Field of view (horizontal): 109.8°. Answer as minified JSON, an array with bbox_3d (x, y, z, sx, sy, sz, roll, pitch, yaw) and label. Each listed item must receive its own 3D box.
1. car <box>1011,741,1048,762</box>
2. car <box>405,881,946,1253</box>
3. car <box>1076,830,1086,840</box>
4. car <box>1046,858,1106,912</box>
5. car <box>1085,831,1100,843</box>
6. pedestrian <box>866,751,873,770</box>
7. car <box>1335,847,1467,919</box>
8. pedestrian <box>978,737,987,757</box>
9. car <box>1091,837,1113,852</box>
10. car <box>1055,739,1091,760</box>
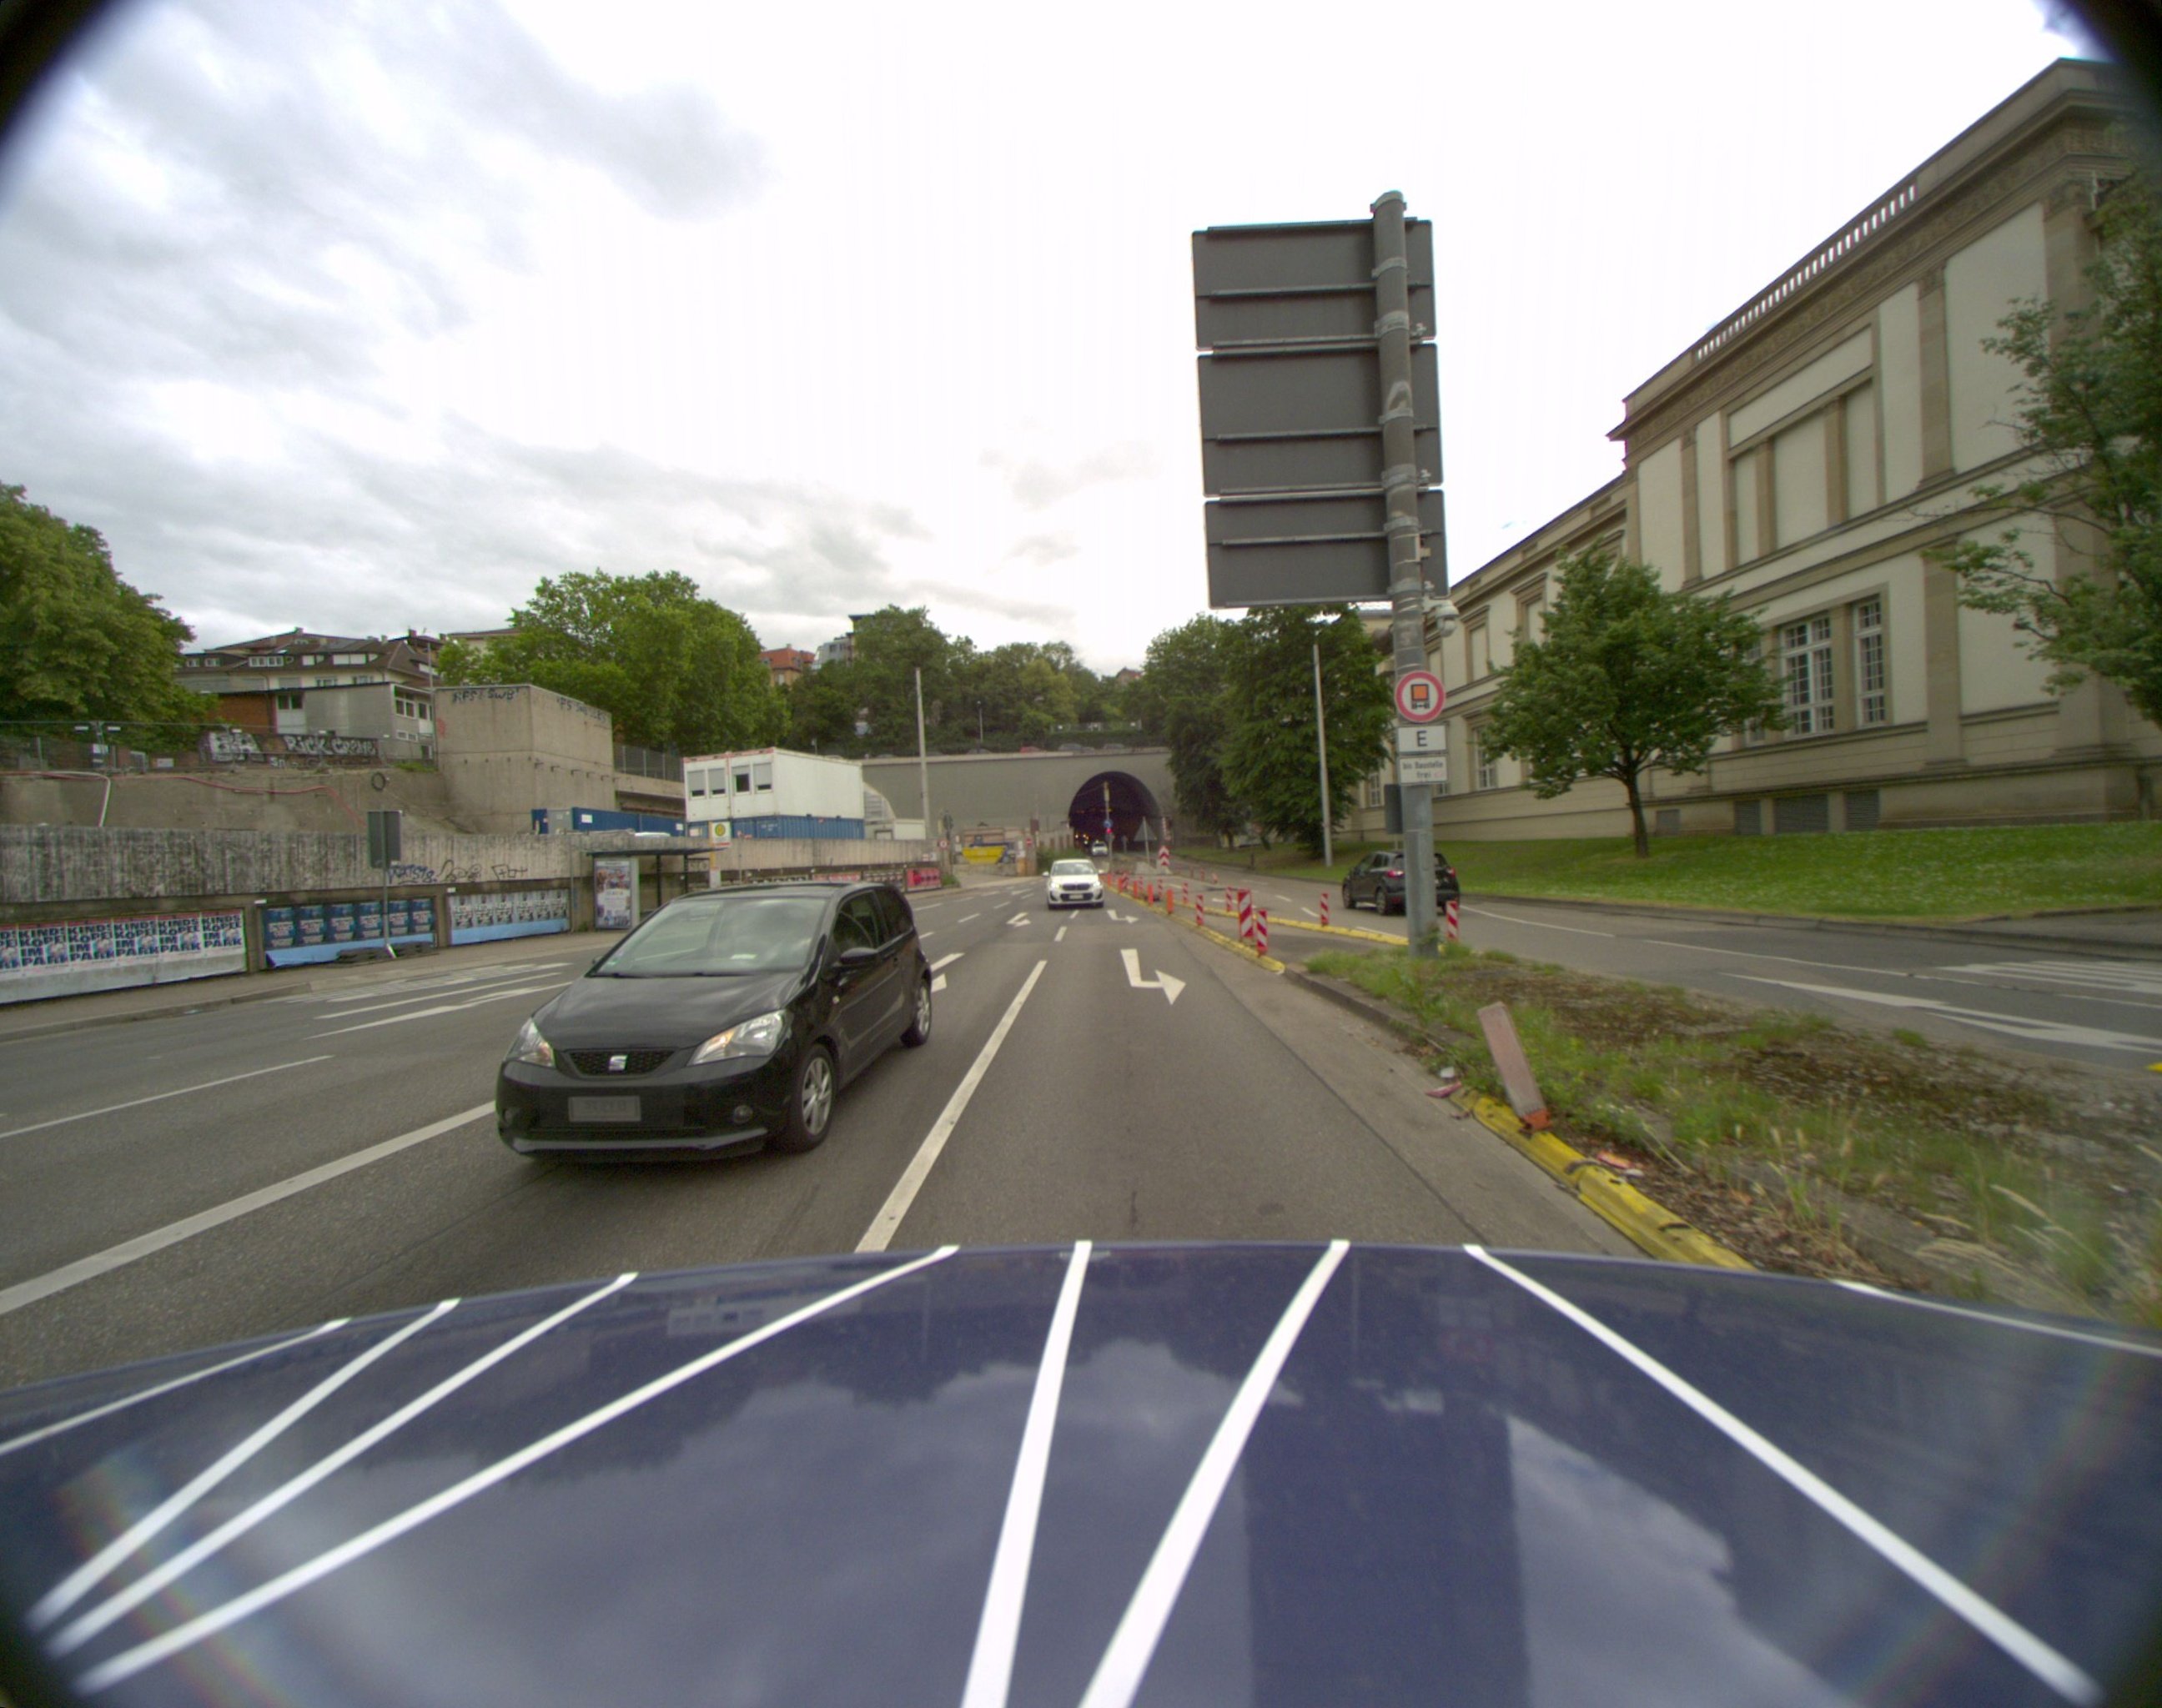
[{"bbox_3d":[-5.809,-11.581,85.815,3.998,2.002,1.999,-2,1,-3],"label":"car"},{"bbox_3d":[-2.212,1.057,5.438,1.667,1.487,3.881,-3,0,1],"label":"car"},{"bbox_3d":[0.000,-3.268,131.732,1.705,1.550,4.550,-3,0,-1],"label":"car"},{"bbox_3d":[-0.134,1.003,26.091,1.849,1.582,3.881,-3,0,1],"label":"car"},{"bbox_3d":[1.541,-2.286,103.560,1.826,1.562,4.654,-3,0,2],"label":"car"},{"bbox_3d":[-23.590,-10.425,84.752,0.582,2.002,0.577,-2,1,-4],"label":"pedestrian"},{"bbox_3d":[7.827,0.648,18.985,1.667,1.582,3.881,-1,0,1],"label":"car"},{"bbox_3d":[-10.703,-11.583,82.427,0.851,2.002,0.905,-3,1,-4],"label":"pedestrian"},{"bbox_3d":[2.326,-1.026,83.348,1.662,1.471,4.003,-3,0,11],"label":"car"},{"bbox_3d":[-0.933,-11.771,85.999,3.998,2.002,1.999,-2,1,-3],"label":"car"}]
